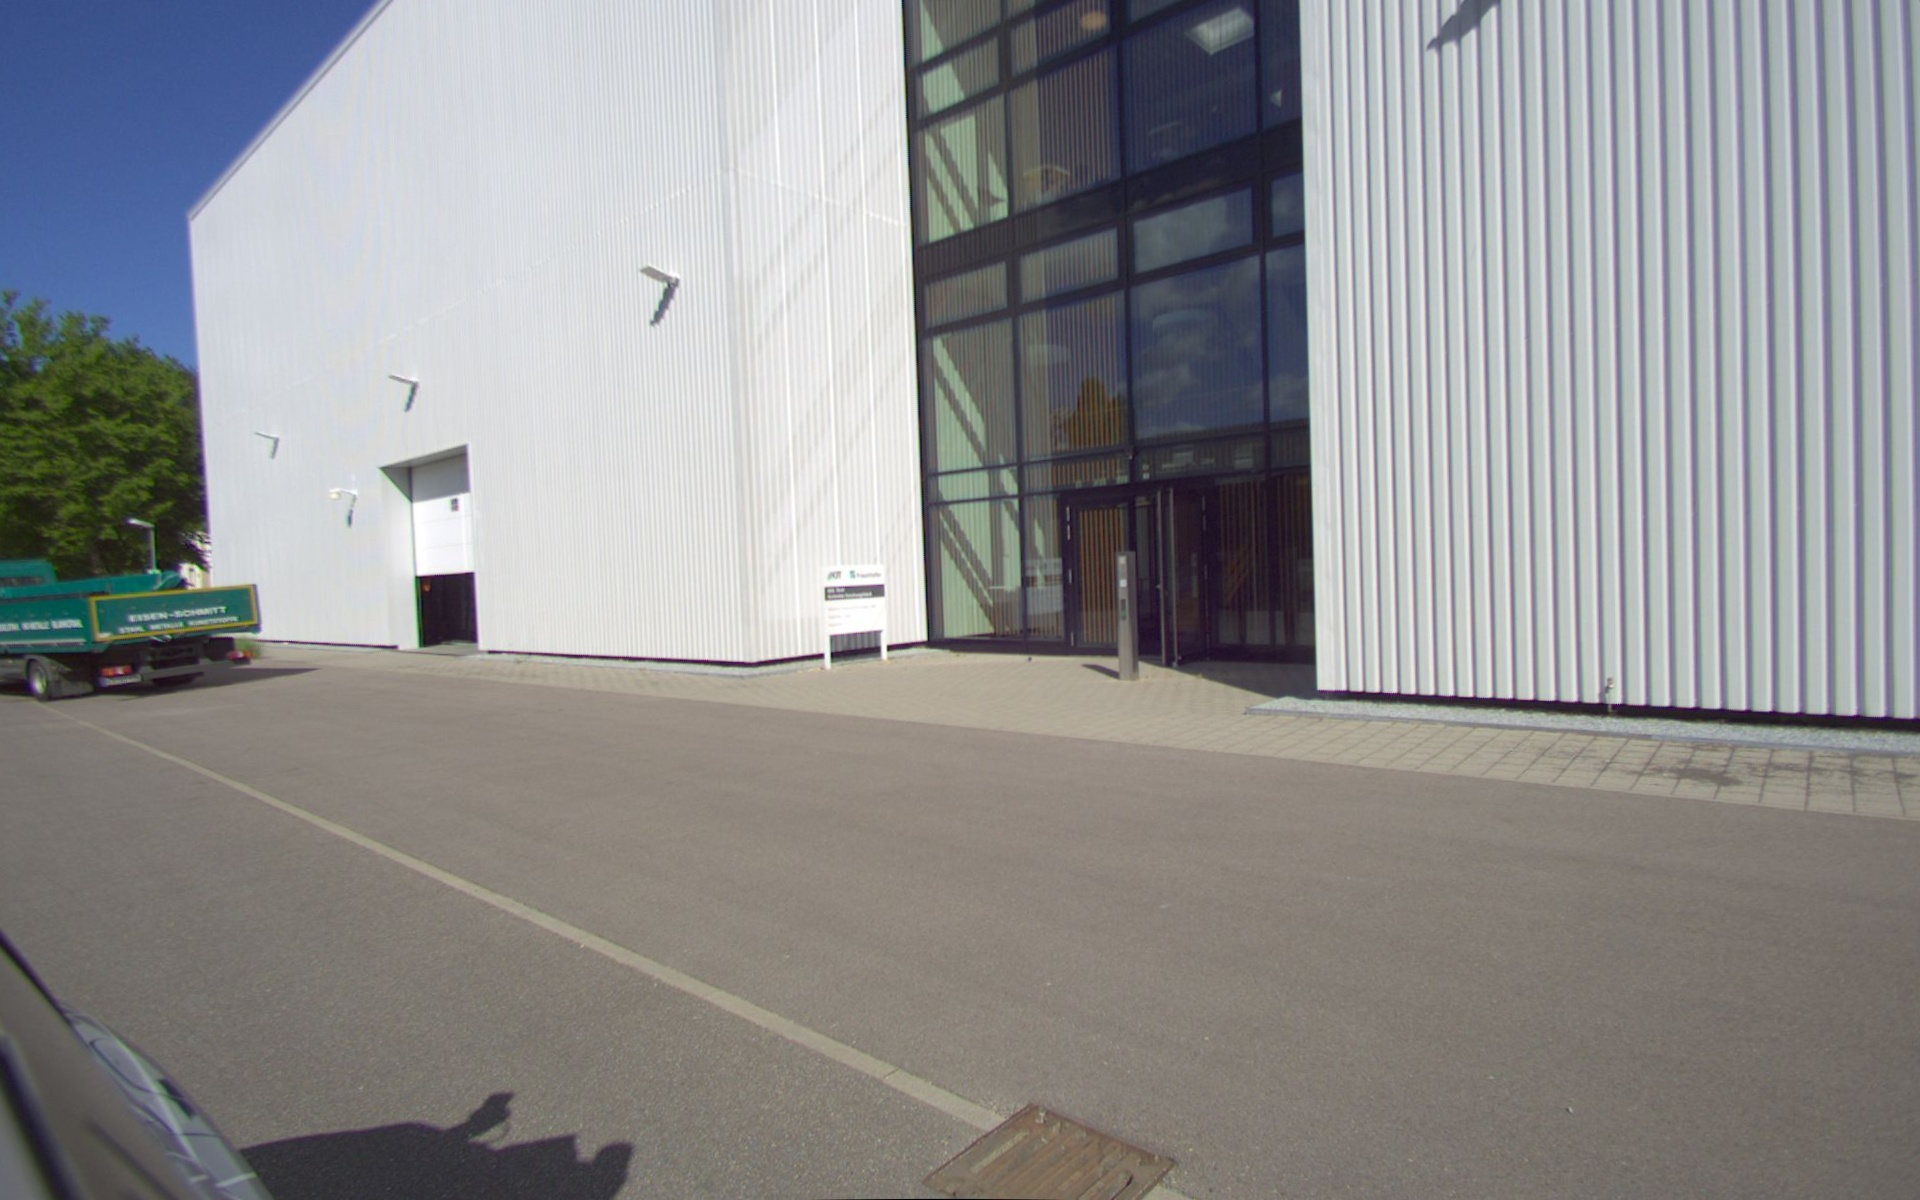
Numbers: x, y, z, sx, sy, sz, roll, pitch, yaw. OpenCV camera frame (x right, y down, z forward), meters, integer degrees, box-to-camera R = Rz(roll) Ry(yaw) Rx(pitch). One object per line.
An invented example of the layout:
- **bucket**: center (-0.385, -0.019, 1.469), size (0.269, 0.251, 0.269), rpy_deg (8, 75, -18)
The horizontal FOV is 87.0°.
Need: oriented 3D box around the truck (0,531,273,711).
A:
- **truck**: center (-17.135, 0.409, 19.185), size (9.653, 2.736, 2.565), rpy_deg (-2, 4, 29)
